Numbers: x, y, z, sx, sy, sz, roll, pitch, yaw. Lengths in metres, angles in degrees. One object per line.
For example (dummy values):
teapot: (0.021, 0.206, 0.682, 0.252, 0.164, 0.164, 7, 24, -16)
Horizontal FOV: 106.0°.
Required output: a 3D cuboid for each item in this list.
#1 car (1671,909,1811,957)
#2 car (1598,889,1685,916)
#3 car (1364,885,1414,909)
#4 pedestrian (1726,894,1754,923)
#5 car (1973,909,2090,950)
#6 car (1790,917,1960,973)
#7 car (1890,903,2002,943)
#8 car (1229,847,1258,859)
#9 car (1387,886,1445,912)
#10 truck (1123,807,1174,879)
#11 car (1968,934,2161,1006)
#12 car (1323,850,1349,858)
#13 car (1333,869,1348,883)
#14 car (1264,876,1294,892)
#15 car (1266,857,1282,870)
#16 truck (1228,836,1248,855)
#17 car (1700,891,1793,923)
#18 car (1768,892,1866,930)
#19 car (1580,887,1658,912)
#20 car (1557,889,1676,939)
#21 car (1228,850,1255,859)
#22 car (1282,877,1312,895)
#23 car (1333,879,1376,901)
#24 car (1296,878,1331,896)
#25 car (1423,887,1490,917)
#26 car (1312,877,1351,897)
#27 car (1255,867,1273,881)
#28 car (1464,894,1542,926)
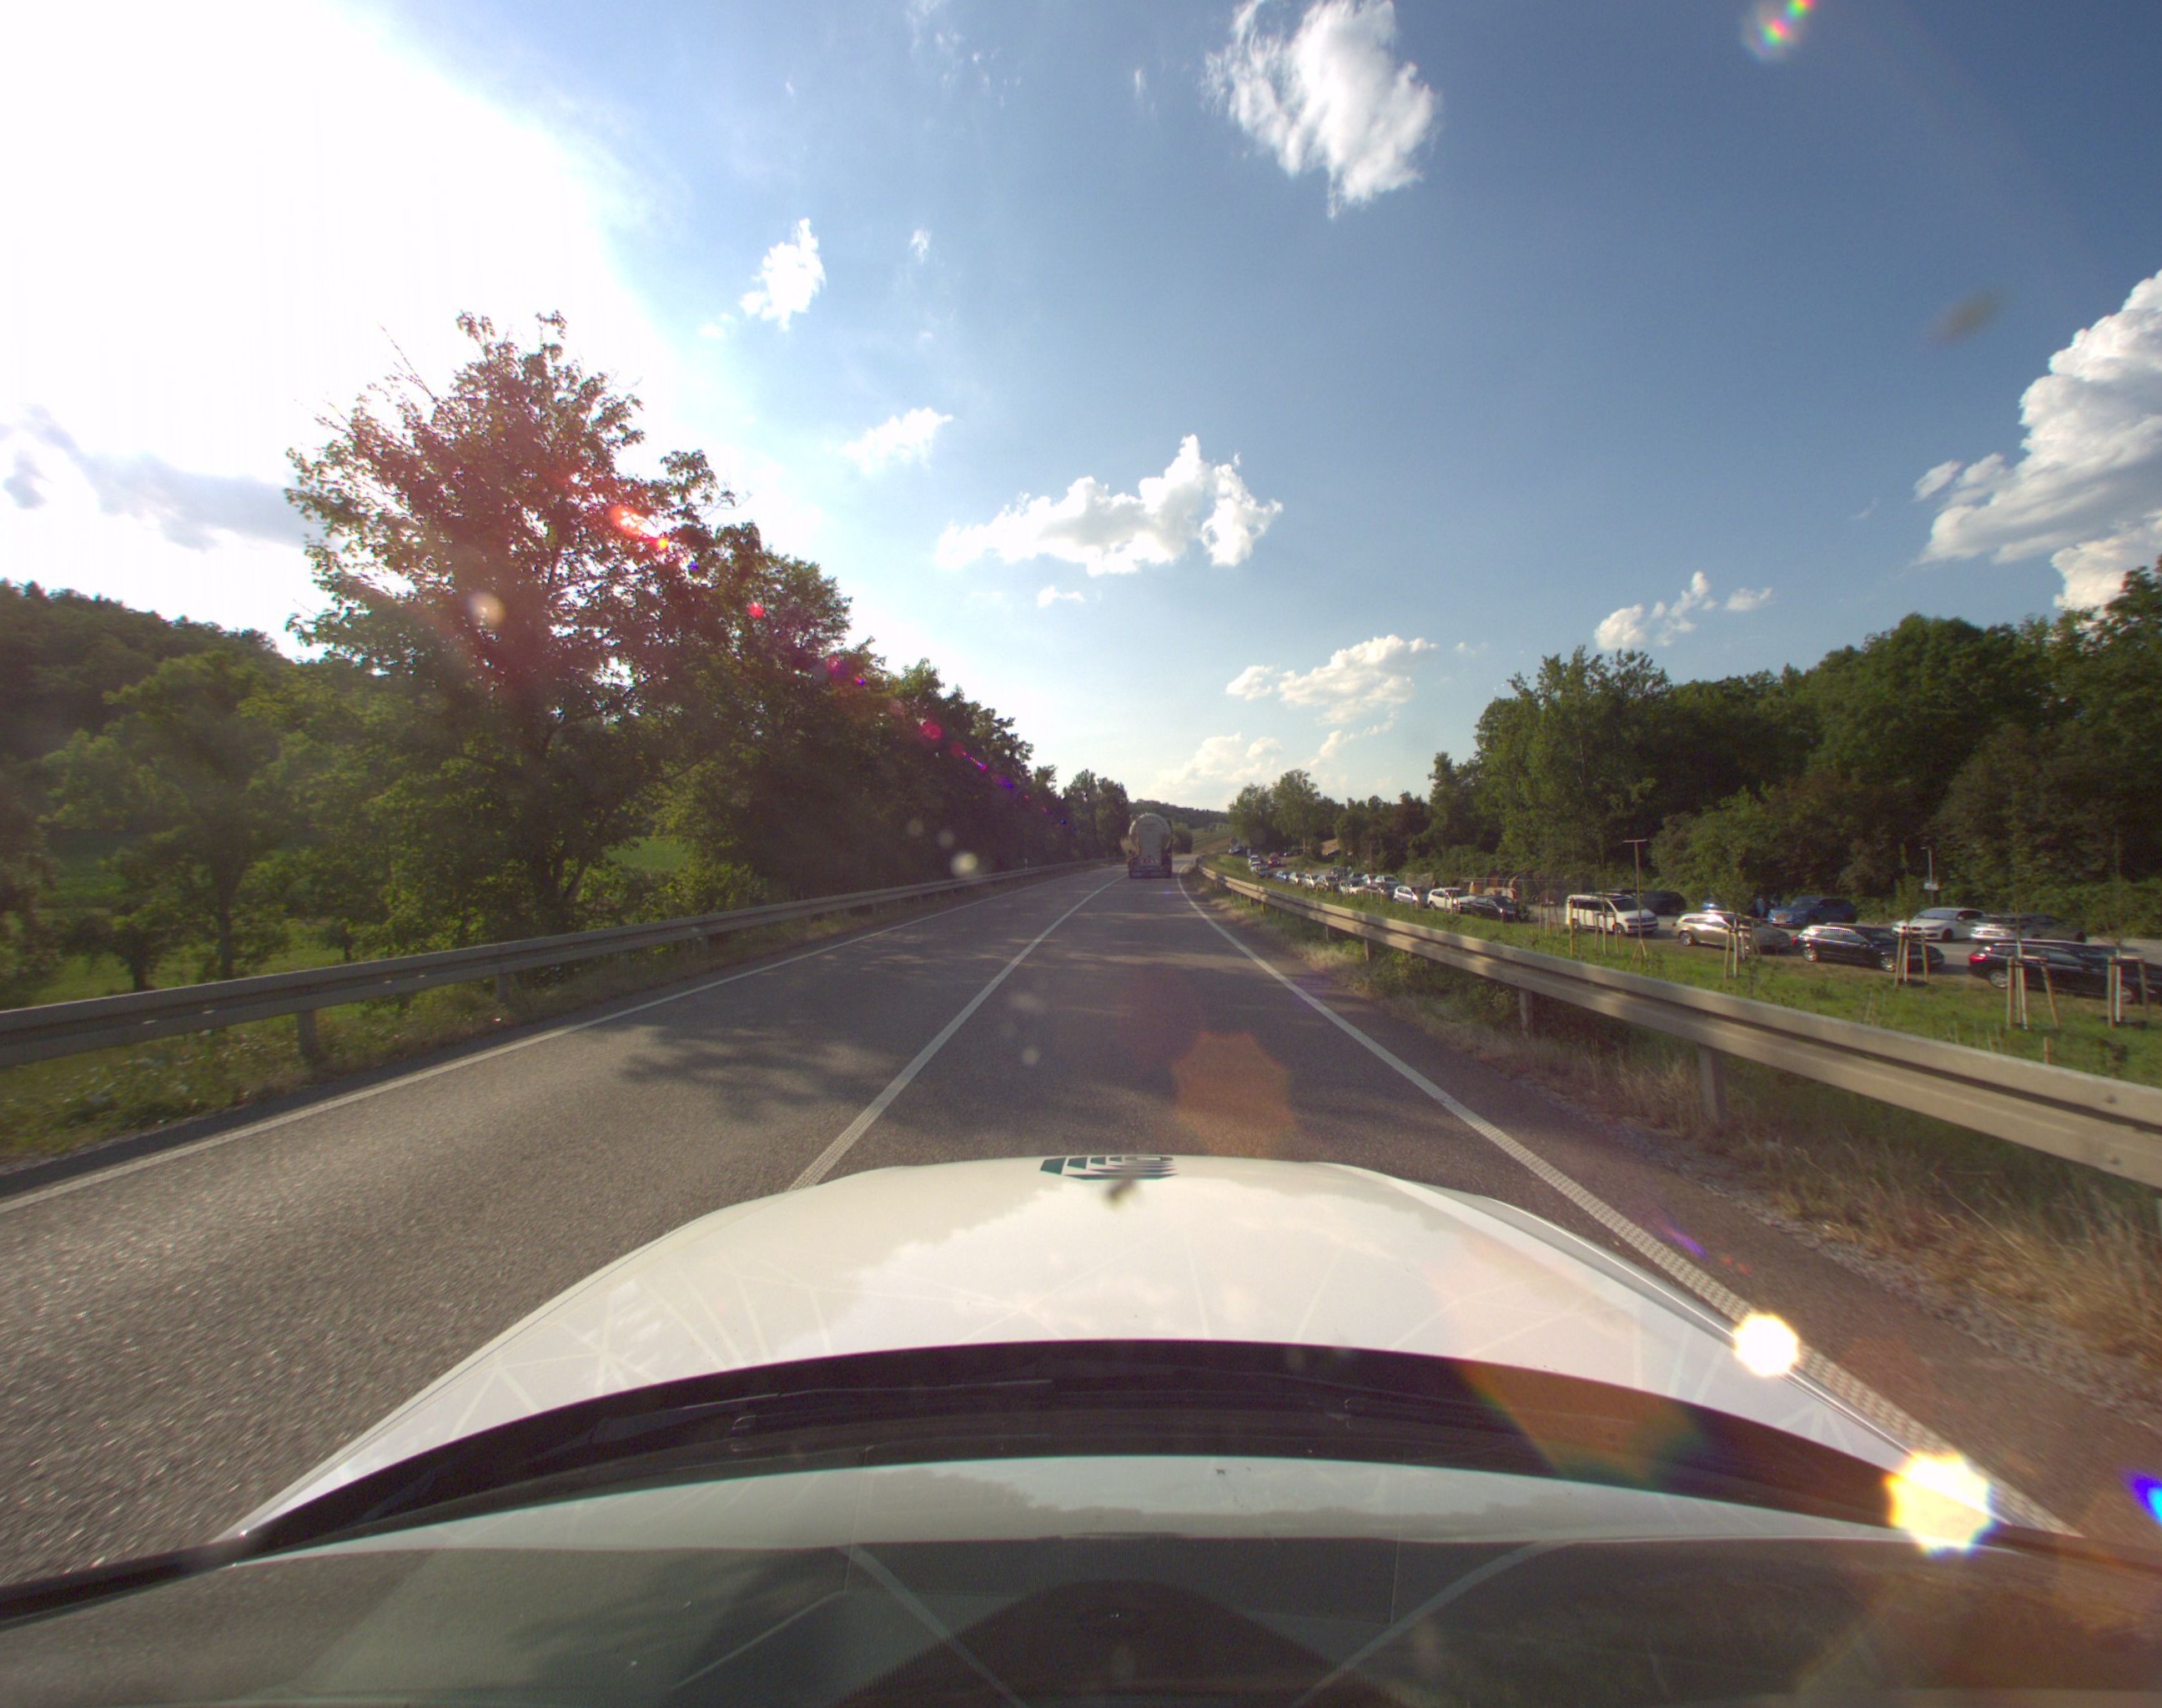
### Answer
car: (29.336, 3.457, 36.413, 1.892, 1.482, 4.767, -5, 1, -10)
car: (35.484, 3.038, 51.623, 4.213, 1.489, 1.837, -1, 2, 5)
car: (25.712, 3.566, 68.164, 1.890, 1.559, 4.772, -5, 1, -6)
pedestrian: (36.283, 3.009, 44.850, 0.910, 1.471, 0.894, -3, 1, 24)
car: (39.795, 3.125, 34.108, 4.242, 1.456, 1.608, -1, 0, -17)
car: (30.273, 3.420, 31.253, 1.820, 1.482, 4.375, -3, 1, -14)
car: (39.167, 3.097, 36.891, 4.241, 1.498, 1.763, 0, 0, -16)
car: (29.956, -0.214, 149.779, 5.105, 1.943, 1.982, 4, 2, 12)
car: (25.882, 3.443, 63.101, 1.892, 1.559, 4.767, -5, 1, -10)
truck: (4.402, -0.629, 53.802, 2.880, 4.142, 13.187, -1, 0, 4)
car: (31.173, 3.524, 25.431, 1.820, 1.482, 4.375, -3, 1, -14)
car: (48.962, 0.021, 156.431, 4.646, 1.507, 1.986, -1, 0, -22)
car: (31.963, 2.677, 100.252, 1.687, 1.398, 4.808, -4, 0, 18)
car: (23.829, 3.557, 98.033, 1.890, 1.559, 4.772, -5, 1, -6)
car: (30.468, 1.417, 128.658, 1.881, 1.686, 5.099, -4, 1, 8)
truck: (36.203, -2.048, 187.708, 3.159, 4.227, 13.231, -2, 1, 17)
car: (37.928, 3.015, 46.462, 4.234, 1.604, 1.827, 0, 0, -11)
car: (38.628, 2.942, 42.758, 4.241, 1.742, 1.824, -1, 0, -16)
car: (36.015, 3.009, 54.554, 4.233, 1.489, 1.827, -1, 0, -10)
car: (28.191, 3.086, 43.155, 2.119, 2.017, 5.361, -5, 1, -10)
car: (28.759, 0.124, 145.998, 4.317, 1.399, 1.713, 2, 2, -14)
car: (24.344, 3.611, 91.937, 1.887, 1.559, 4.779, -5, 1, -2)
car: (25.327, 3.284, 75.545, 1.890, 1.559, 4.772, -5, 1, -6)
car: (24.796, 3.518, 86.965, 1.890, 1.559, 4.772, -2, 1, -7)
car: (26.473, 3.349, 57.657, 1.892, 1.559, 4.767, -5, 1, -10)
car: (24.898, 3.236, 81.250, 1.890, 1.559, 4.772, -5, 1, -6)
car: (24.686, 2.683, 109.814, 1.881, 1.559, 4.795, -4, 1, 8)
car: (26.743, 3.502, 51.815, 1.892, 1.482, 4.767, -5, 1, -10)
